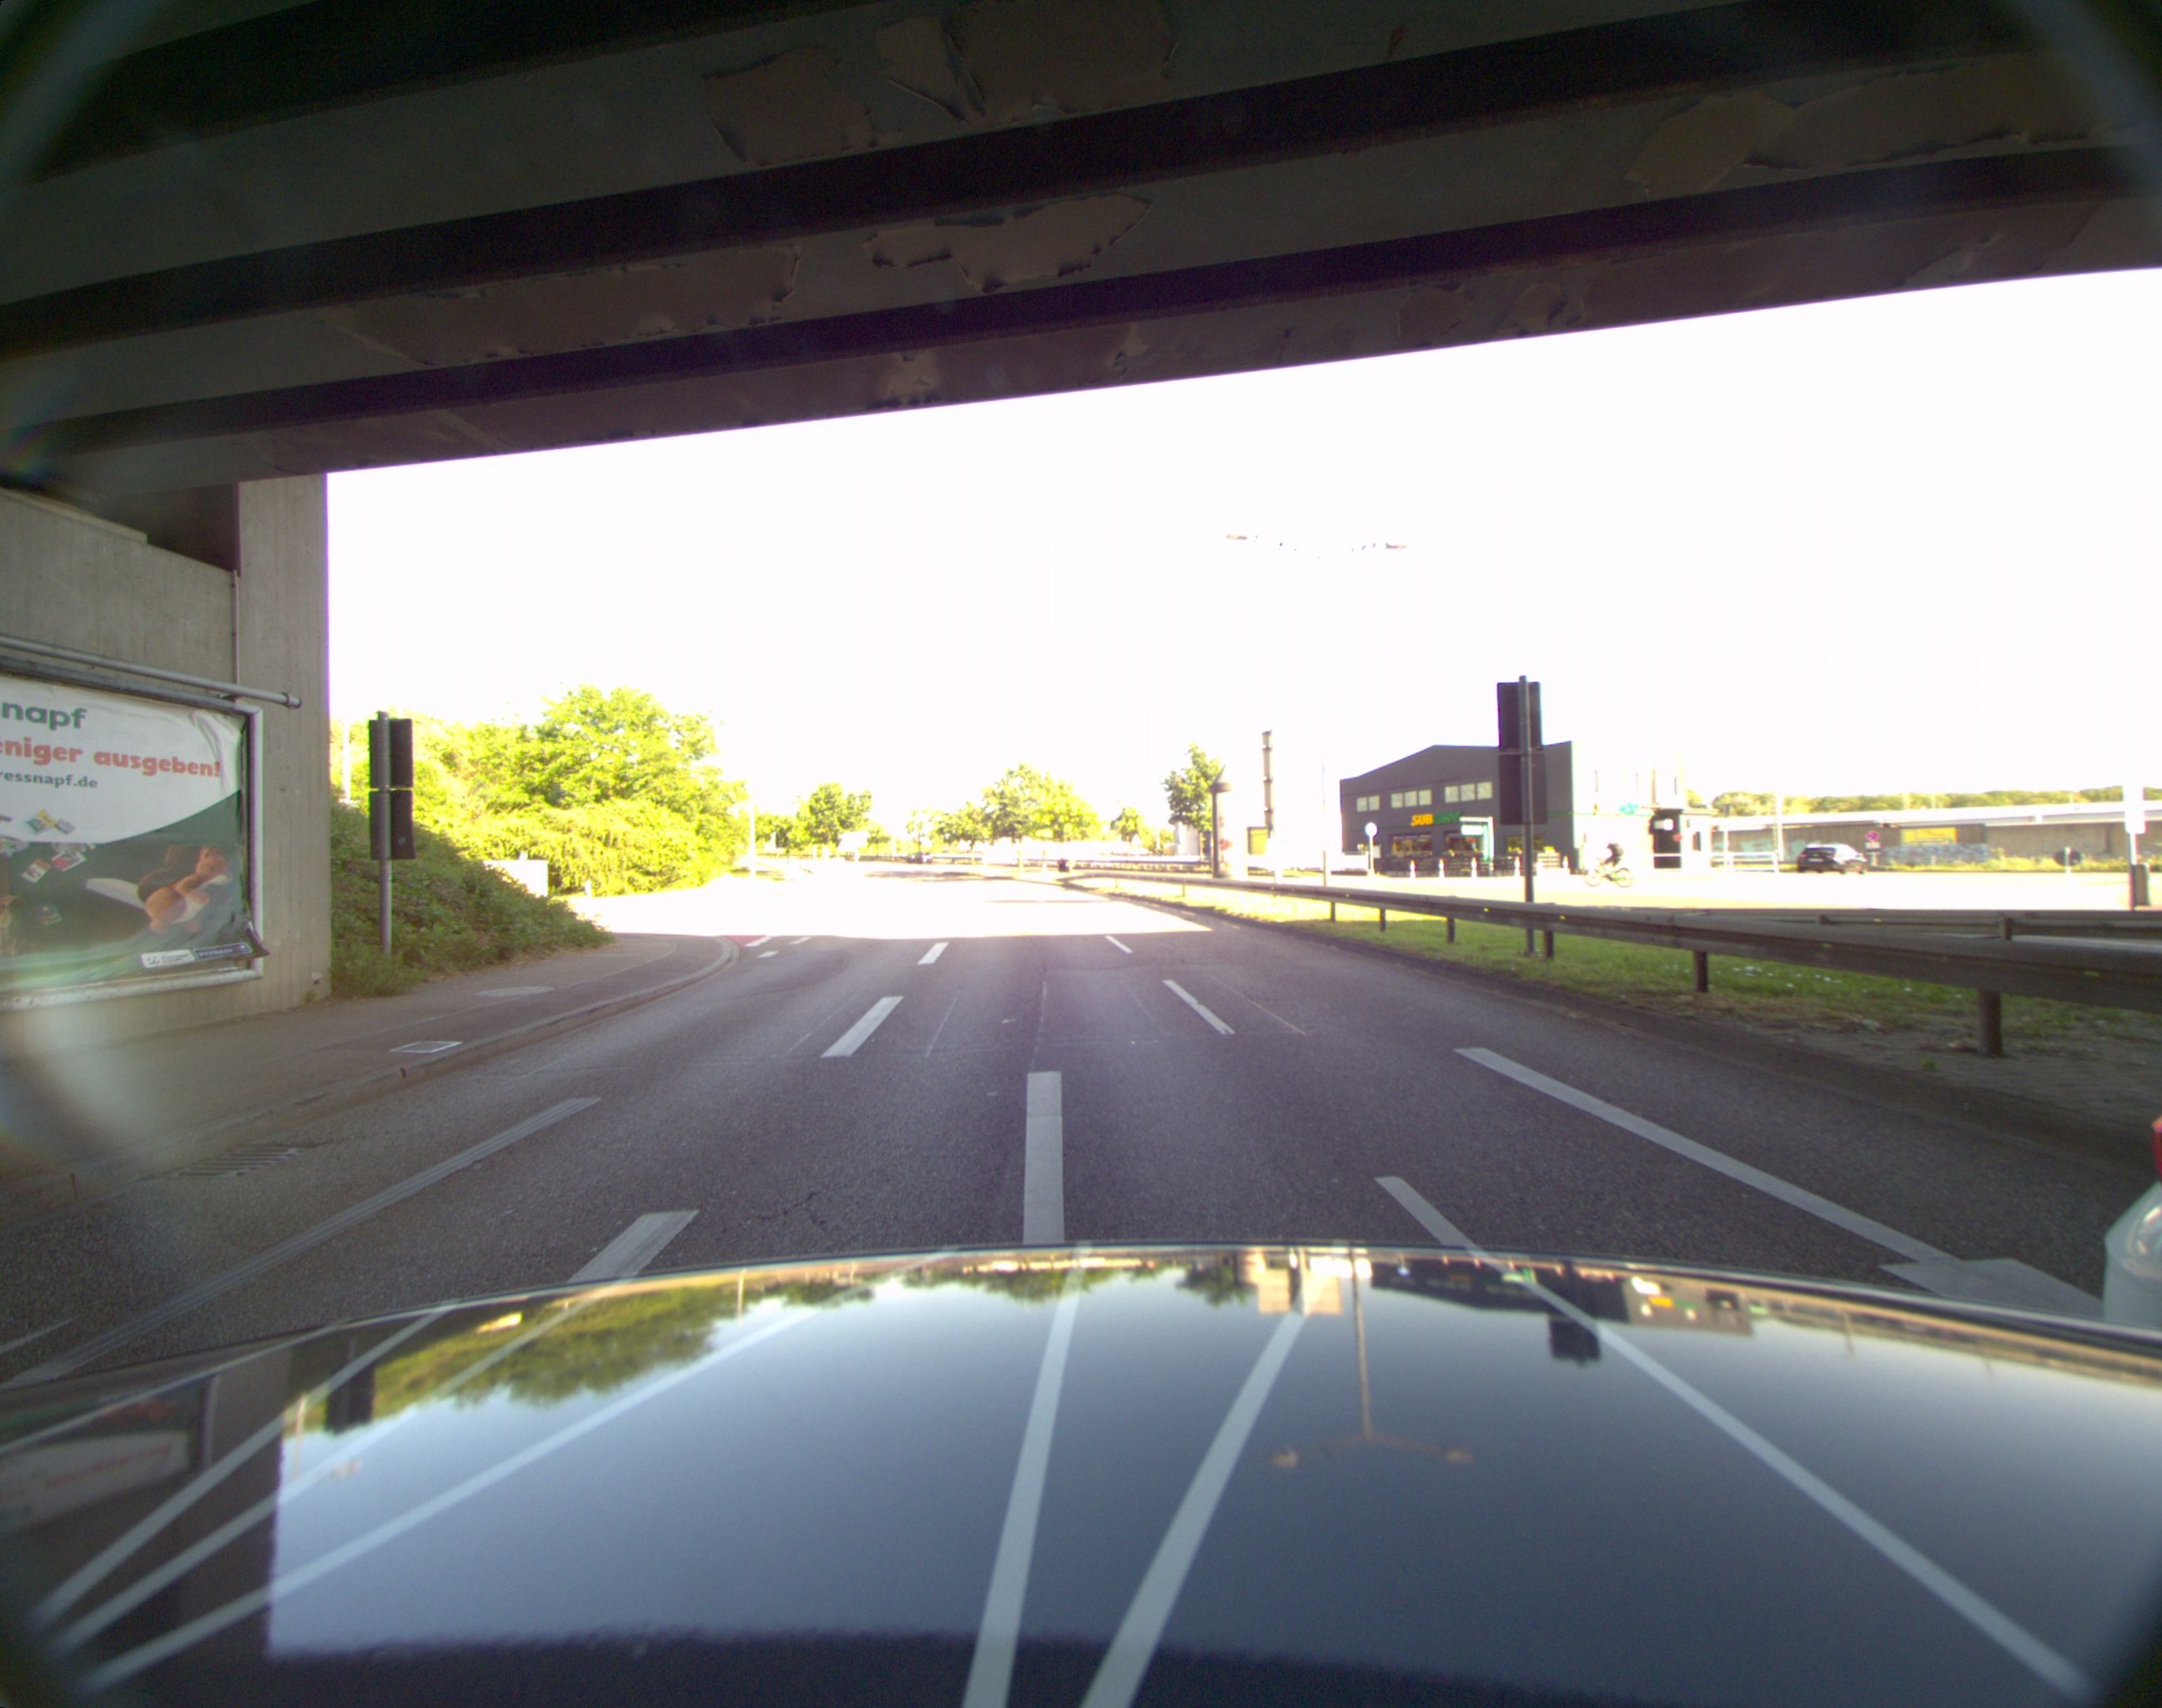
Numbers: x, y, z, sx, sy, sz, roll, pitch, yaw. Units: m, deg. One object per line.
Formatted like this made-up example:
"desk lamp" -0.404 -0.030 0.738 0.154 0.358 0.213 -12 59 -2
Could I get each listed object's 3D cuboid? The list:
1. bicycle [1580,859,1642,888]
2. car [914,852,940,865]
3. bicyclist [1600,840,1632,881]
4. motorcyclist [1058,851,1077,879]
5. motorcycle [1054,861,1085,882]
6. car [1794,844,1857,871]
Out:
"bicycle" 19.141 0.692 27.496 0.594 1.017 1.746 -3 1 -28
"car" -20.505 0.590 100.890 1.834 1.727 4.517 1 0 -32
"bicyclist" 19.220 0.235 27.311 0.594 1.419 0.707 -3 1 -28
"motorcyclist" -1.112 0.932 63.372 1.110 2.228 1.180 -3 1 -30
"motorcycle" -1.013 1.461 63.260 1.110 1.651 3.147 -3 1 -30
"car" 38.281 0.187 39.028 4.191 1.274 1.825 1 0 -39
